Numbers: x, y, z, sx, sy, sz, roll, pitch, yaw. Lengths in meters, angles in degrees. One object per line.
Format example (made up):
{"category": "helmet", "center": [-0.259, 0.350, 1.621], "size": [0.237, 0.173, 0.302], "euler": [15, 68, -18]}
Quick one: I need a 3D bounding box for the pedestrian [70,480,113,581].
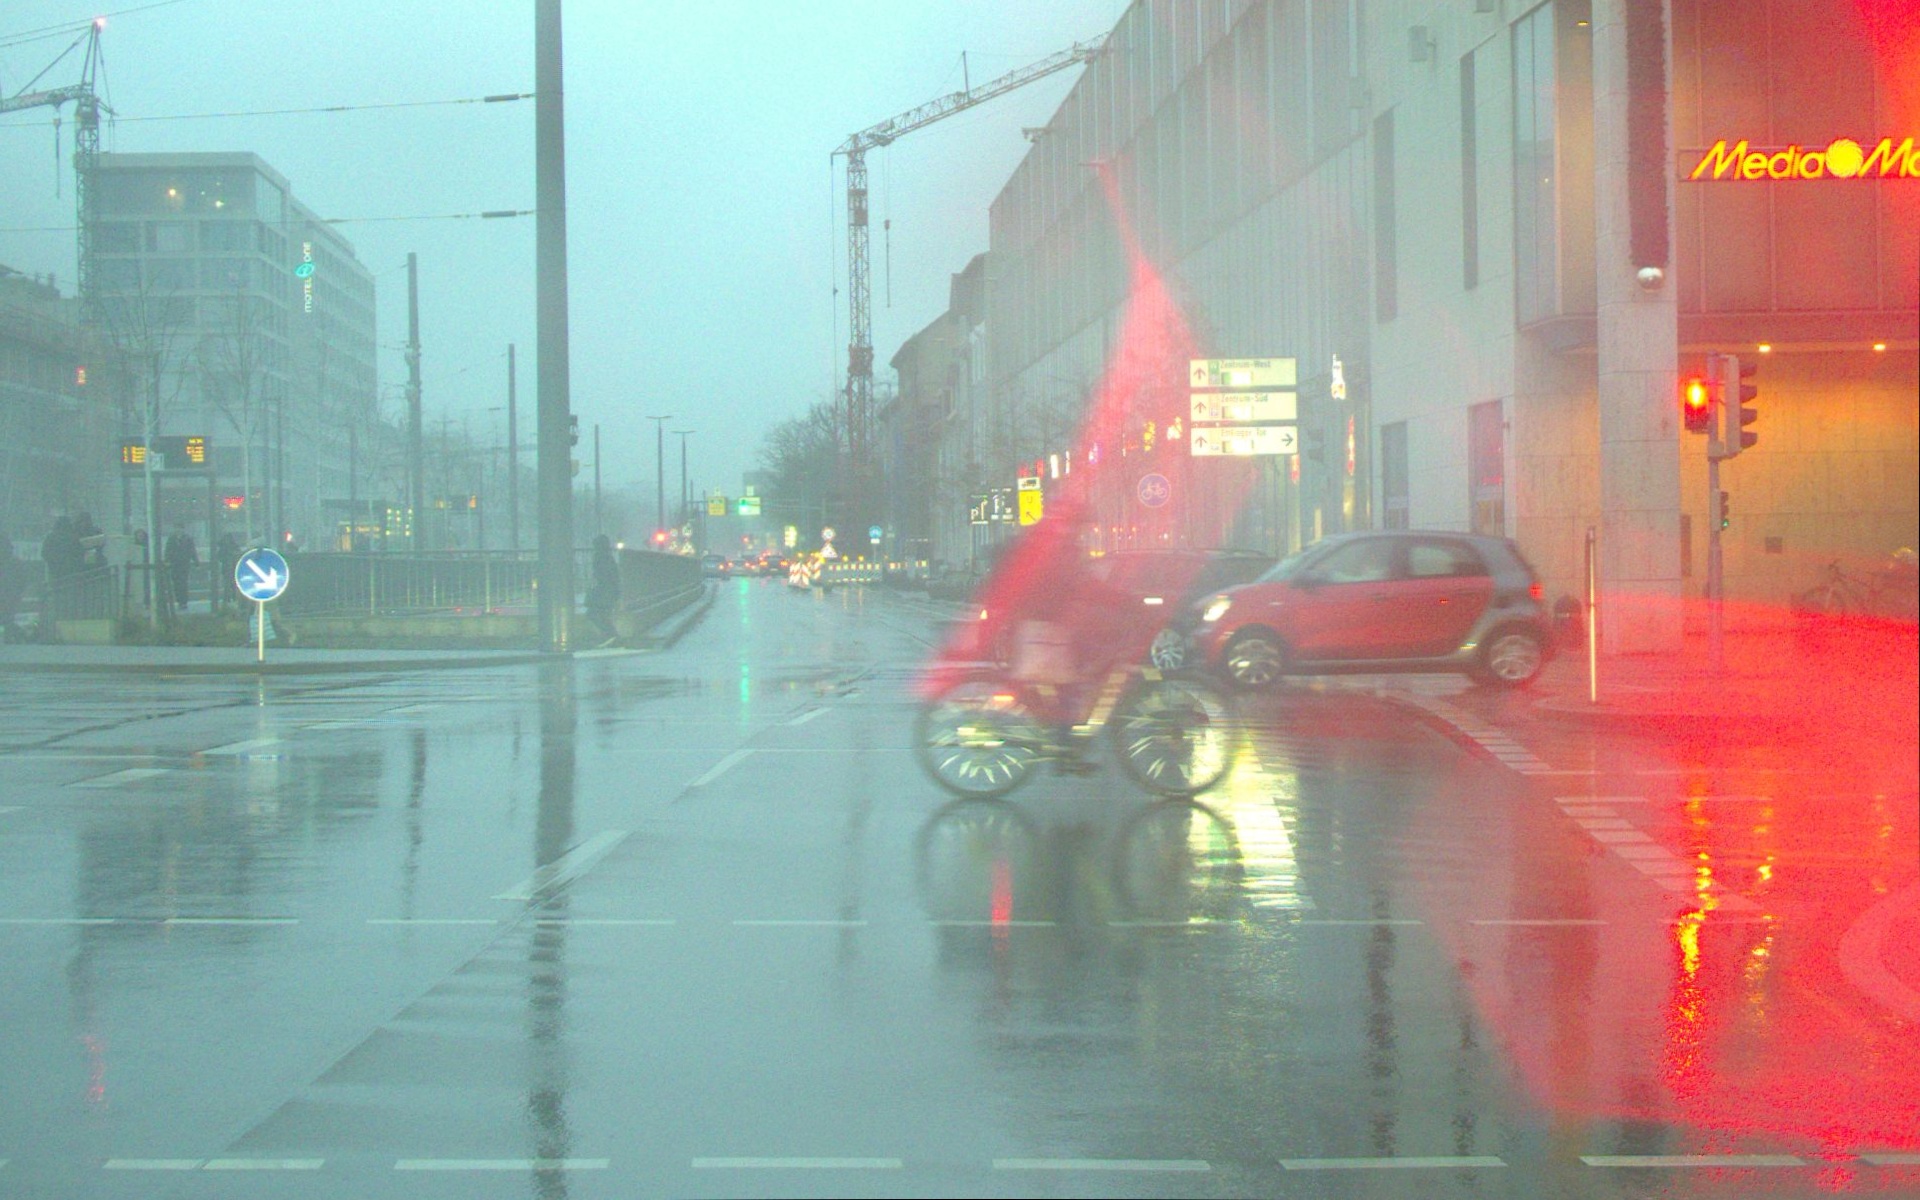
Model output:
{"category": "pedestrian", "center": [-15.162, -1.206, 60.023], "size": [0.660, 1.740, 0.736], "euler": [-1, 1, -11]}

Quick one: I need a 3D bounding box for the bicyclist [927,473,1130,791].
{"category": "bicyclist", "center": [0.365, 0.165, 18.783], "size": [1.033, 1.691, 0.618], "euler": [-1, 1, -4]}

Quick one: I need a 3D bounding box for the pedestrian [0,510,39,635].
{"category": "pedestrian", "center": [-13.079, -0.372, 46.710], "size": [0.844, 1.682, 0.676], "euler": [-1, 1, 29]}

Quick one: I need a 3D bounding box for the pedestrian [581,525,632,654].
{"category": "pedestrian", "center": [-4.905, -0.146, 47.714], "size": [0.633, 1.766, 0.484], "euler": [-1, 1, -2]}

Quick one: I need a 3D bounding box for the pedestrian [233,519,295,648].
{"category": "pedestrian", "center": [-9.638, -0.230, 47.607], "size": [0.703, 1.754, 0.652], "euler": [-1, 1, -1]}

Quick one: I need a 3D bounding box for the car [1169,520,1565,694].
{"category": "car", "center": [3.924, 0.064, 33.497], "size": [3.568, 1.577, 1.677], "euler": [-1, 0, -3]}

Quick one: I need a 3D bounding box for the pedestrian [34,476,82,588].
{"category": "pedestrian", "center": [-14.233, -1.072, 54.274], "size": [0.619, 1.740, 0.613], "euler": [-1, 1, -6]}

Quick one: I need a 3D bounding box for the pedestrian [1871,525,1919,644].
{"category": "pedestrian", "center": [13.648, -0.228, 50.126], "size": [0.536, 1.712, 0.501], "euler": [0, 1, 37]}

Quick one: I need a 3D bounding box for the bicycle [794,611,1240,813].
{"category": "bicycle", "center": [0.298, 0.601, 18.777], "size": [2.372, 1.029, 0.618], "euler": [-1, 1, -4]}

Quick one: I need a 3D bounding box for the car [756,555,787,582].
{"category": "car", "center": [-12.651, -2.093, 231.052], "size": [1.888, 1.777, 3.714], "euler": [1, 0, -1]}

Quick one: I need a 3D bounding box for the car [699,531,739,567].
{"category": "car", "center": [-13.845, -2.897, 197.741], "size": [1.993, 2.007, 4.000], "euler": [1, 0, -1]}

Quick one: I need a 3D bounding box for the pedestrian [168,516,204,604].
{"category": "pedestrian", "center": [-15.497, -0.803, 68.839], "size": [0.660, 1.740, 0.621], "euler": [-1, 1, -11]}

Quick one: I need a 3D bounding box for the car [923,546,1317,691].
{"category": "car", "center": [1.787, 0.184, 39.722], "size": [1.792, 1.568, 4.549], "euler": [-2, 1, -44]}
